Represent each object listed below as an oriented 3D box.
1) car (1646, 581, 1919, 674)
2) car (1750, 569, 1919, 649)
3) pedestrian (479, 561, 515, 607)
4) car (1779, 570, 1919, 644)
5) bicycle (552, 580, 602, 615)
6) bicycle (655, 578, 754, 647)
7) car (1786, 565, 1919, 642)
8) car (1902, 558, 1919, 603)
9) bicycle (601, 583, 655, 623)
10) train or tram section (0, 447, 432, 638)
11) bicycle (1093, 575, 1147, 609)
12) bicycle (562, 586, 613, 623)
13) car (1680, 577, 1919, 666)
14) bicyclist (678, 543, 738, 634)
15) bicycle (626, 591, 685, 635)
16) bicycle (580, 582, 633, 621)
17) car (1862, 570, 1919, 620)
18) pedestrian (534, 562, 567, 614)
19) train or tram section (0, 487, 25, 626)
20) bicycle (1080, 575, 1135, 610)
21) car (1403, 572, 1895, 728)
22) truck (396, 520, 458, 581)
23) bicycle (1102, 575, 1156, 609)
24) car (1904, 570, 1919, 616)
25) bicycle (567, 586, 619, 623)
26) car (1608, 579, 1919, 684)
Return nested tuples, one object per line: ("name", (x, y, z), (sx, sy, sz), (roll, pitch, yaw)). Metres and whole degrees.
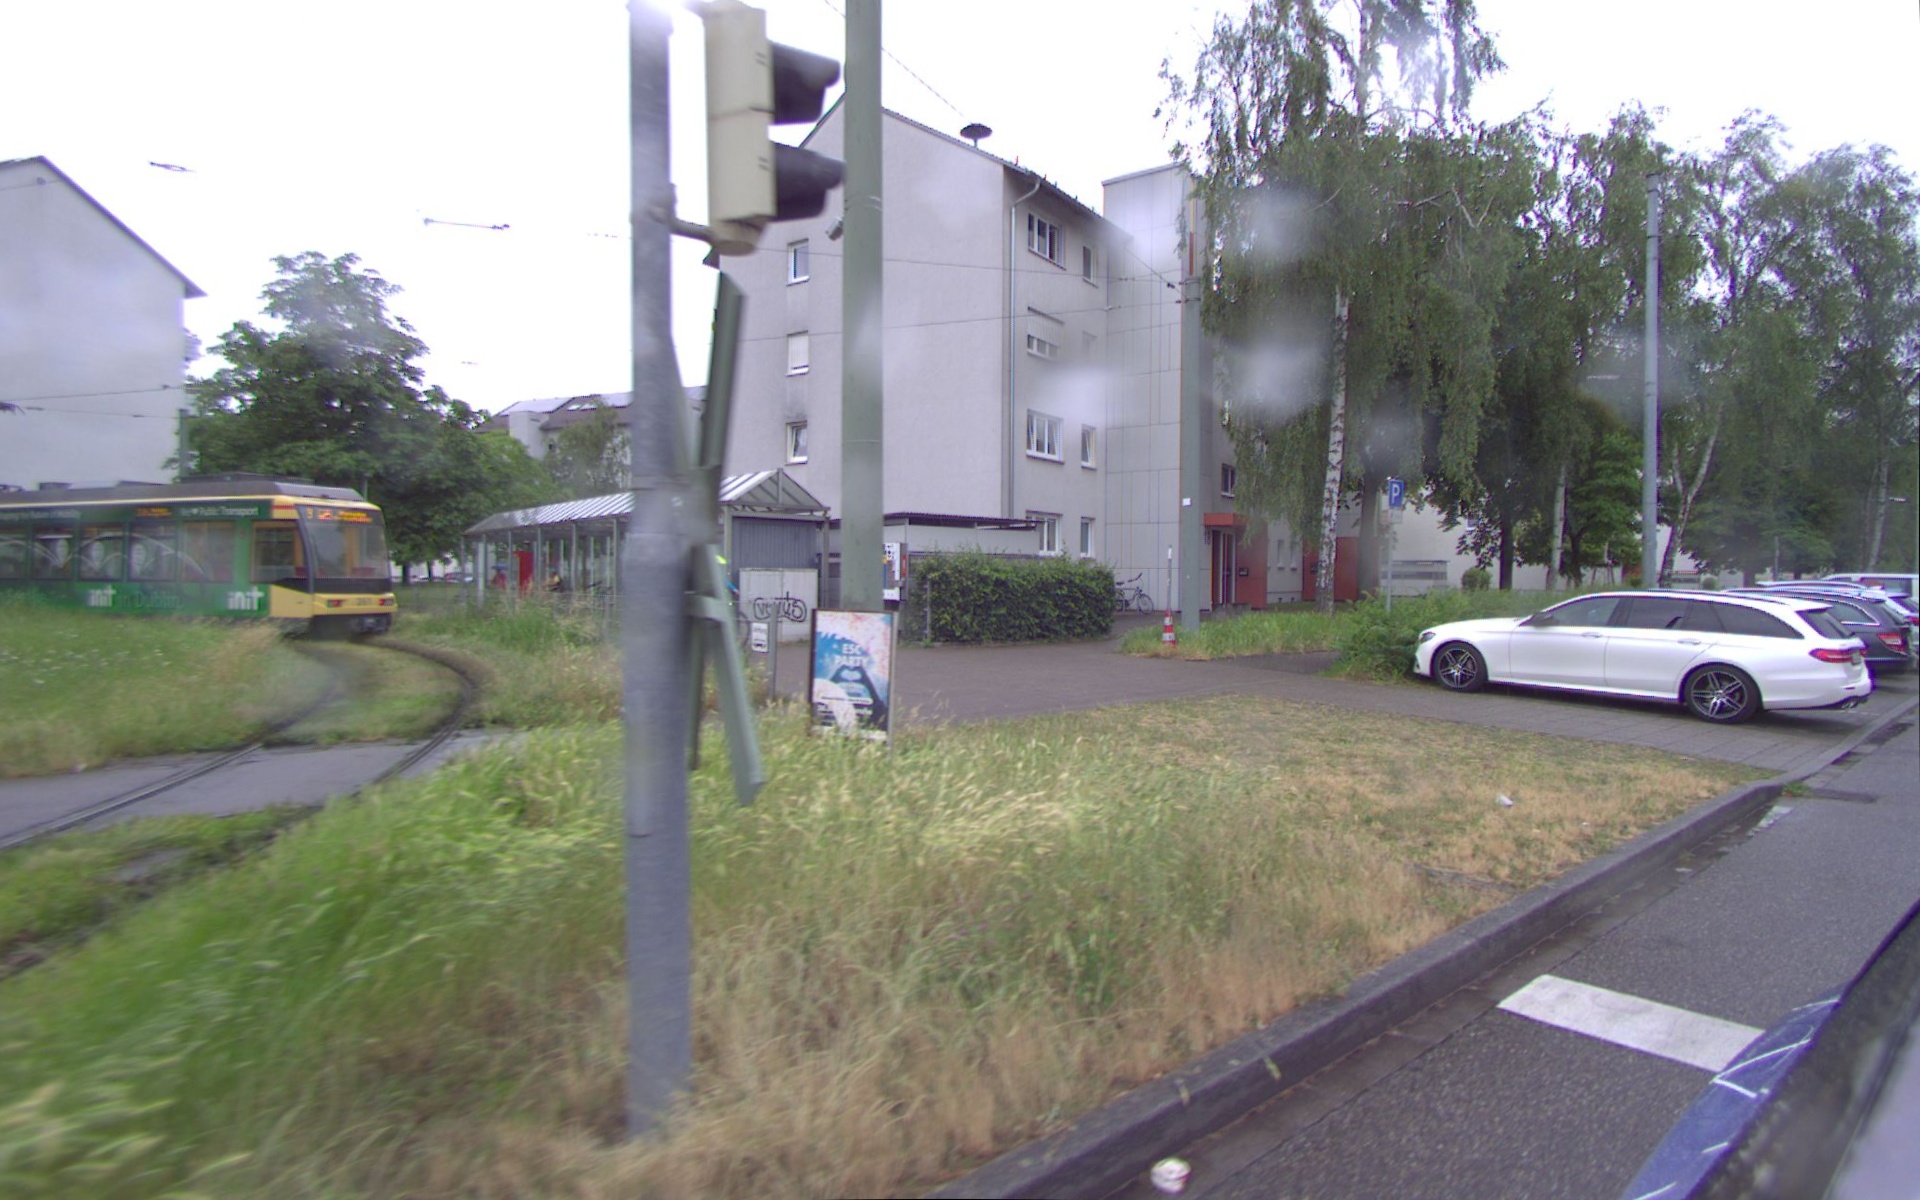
("car", (15.059, 0.458, 18.356), (1.692, 1.505, 3.995), (-1, 0, -39))
("car", (22.519, 0.207, 25.001), (1.692, 1.869, 4.440), (-1, 0, -39))
("pedestrian", (-19.847, -0.678, 43.414), (1.165, 1.907, 1.056), (-1, -1, -13))
("car", (24.382, 0.168, 26.390), (1.692, 1.869, 4.440), (-1, 0, -39))
("bicycle", (-10.605, -0.069, 28.029), (0.414, 0.959, 1.292), (-1, 0, 33))
("bicycle", (-4.430, 0.195, 17.506), (1.743, 1.144, 0.719), (1, 0, 37))
("car", (26.308, 0.085, 28.551), (1.694, 2.088, 4.434), (-1, 0, -43))
("car", (45.908, -0.936, 45.968), (1.694, 2.088, 4.434), (-1, 0, -43))
("bicycle", (-8.161, 0.072, 24.901), (1.215, 0.959, 0.377), (-1, -1, -38))
("train or tram section", (-18.636, -1.121, 23.170), (14.557, 3.635, 2.696), (0, 0, 21))
("bicycle", (4.577, -0.226, 29.008), (1.467, 0.963, 0.526), (0, 1, 36))
("bicycle", (-10.025, 0.111, 27.260), (1.215, 0.959, 0.377), (-1, -1, -38))
("car", (16.968, 0.393, 20.127), (1.692, 1.606, 3.995), (-1, 0, -39))
("bicyclist", (-4.348, -0.194, 17.449), (0.694, 1.536, 0.715), (0, 0, 36))
("bicycle", (-6.849, 0.282, 22.770), (1.215, 0.968, 0.377), (-1, -1, -38))
("bicycle", (-8.938, 0.038, 25.617), (1.215, 0.959, 0.377), (-1, -1, -38))
("car", (38.648, -0.204, 39.792), (1.866, 1.967, 4.541), (0, 0, -41))
("pedestrian", (-12.664, -0.371, 31.279), (0.776, 1.592, 0.635), (-1, -1, -42))
("train or tram section", (-32.302, -1.167, 26.399), (14.478, 3.635, 2.710), (0, 0, 6))
("bicycle", (4.133, -0.219, 28.342), (1.467, 0.963, 0.526), (0, 1, 36))
("car", (8.533, 0.457, 12.979), (1.964, 1.476, 4.838), (0, 3, -39))
("truck", (-34.370, -3.099, 65.121), (3.139, 3.518, 7.153), (-1, 0, -31))
("bicycle", (4.921, -0.235, 29.509), (1.467, 0.963, 0.526), (0, 1, 36))
("car", (43.067, -0.297, 42.727), (1.866, 1.967, 4.541), (0, 0, -41))
("bicycle", (-9.735, 0.105, 26.855), (1.215, 0.959, 0.377), (-1, -1, -38))
("car", (13.167, 0.462, 16.558), (1.692, 1.505, 3.995), (-1, 0, -39))
